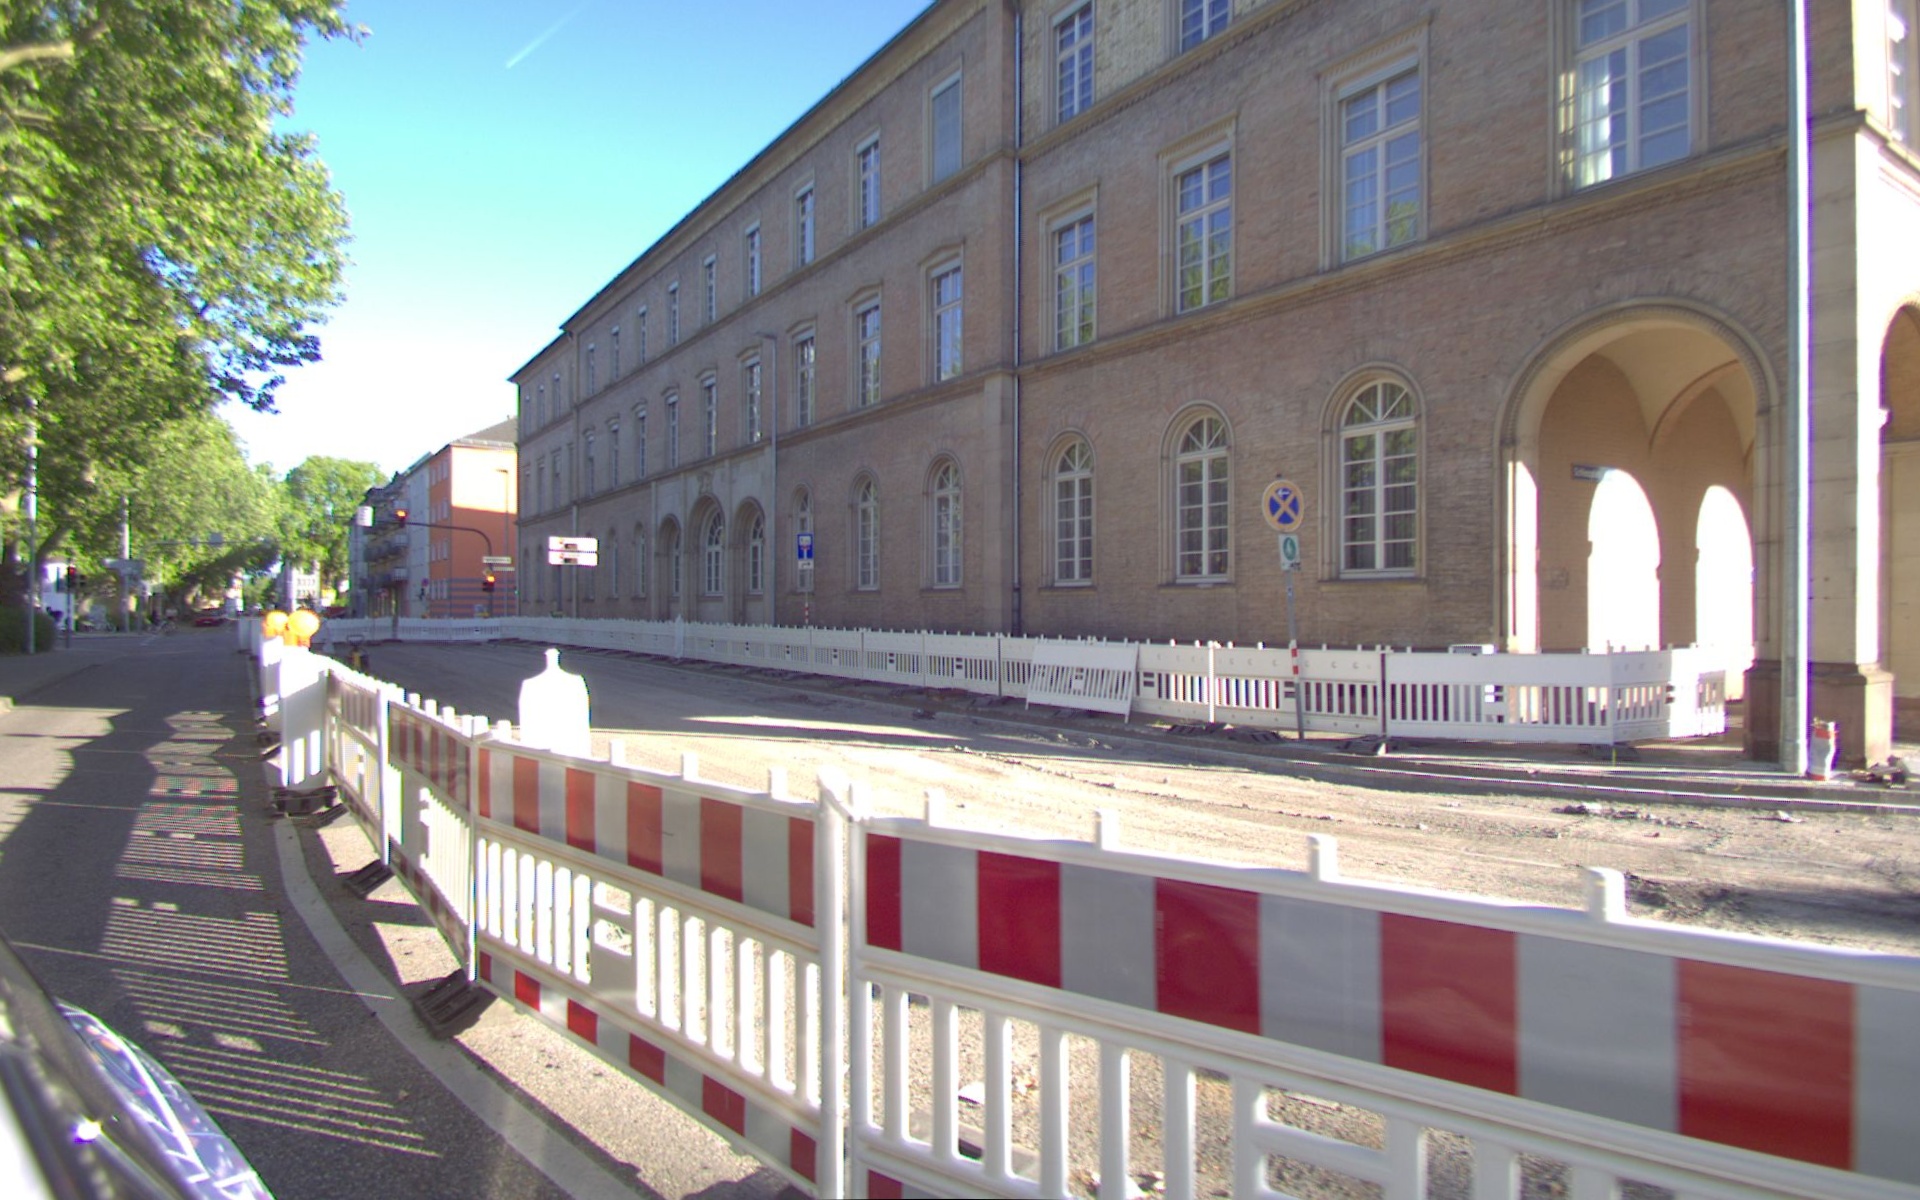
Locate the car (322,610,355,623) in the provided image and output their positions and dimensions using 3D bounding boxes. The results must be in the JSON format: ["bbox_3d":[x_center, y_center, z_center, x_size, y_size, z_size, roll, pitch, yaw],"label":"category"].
[{"bbox_3d":[-88.309,2.345,143.780,3.933,1.712,1.838,1,-1,-34],"label":"car"}]

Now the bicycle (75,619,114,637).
[{"bbox_3d":[-50.948,1.676,59.587,0.619,1.006,1.620,2,-1,28],"label":"bicycle"}]

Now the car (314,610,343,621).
[{"bbox_3d":[-102.954,2.524,164.954,3.933,1.712,1.838,1,-1,-34],"label":"car"}]

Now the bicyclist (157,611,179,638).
[{"bbox_3d":[-49.489,1.503,63.238,0.934,1.652,1.011,-1,0,-28],"label":"bicyclist"}]

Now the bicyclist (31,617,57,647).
[{"bbox_3d":[-44.249,1.549,48.888,0.825,1.383,0.793,4,-5,-40],"label":"bicyclist"}]

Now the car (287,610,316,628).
[{"bbox_3d":[-71.181,2.036,109.404,1.969,1.830,5.133,2,-1,-41],"label":"car"}]

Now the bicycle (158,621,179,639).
[{"bbox_3d":[-49.601,1.885,63.432,0.692,1.075,1.934,0,-3,-28],"label":"bicycle"}]

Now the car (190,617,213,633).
[{"bbox_3d":[-73.027,2.399,97.407,1.759,1.541,4.667,1,-1,-37],"label":"car"}]

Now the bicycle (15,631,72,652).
[{"bbox_3d":[-44.231,2.023,48.874,1.961,1.007,0.791,3,-5,-40],"label":"bicycle"}]

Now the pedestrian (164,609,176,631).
[{"bbox_3d":[-64.878,1.644,83.081,0.661,1.809,0.667,-3,3,-41],"label":"pedestrian"}]
